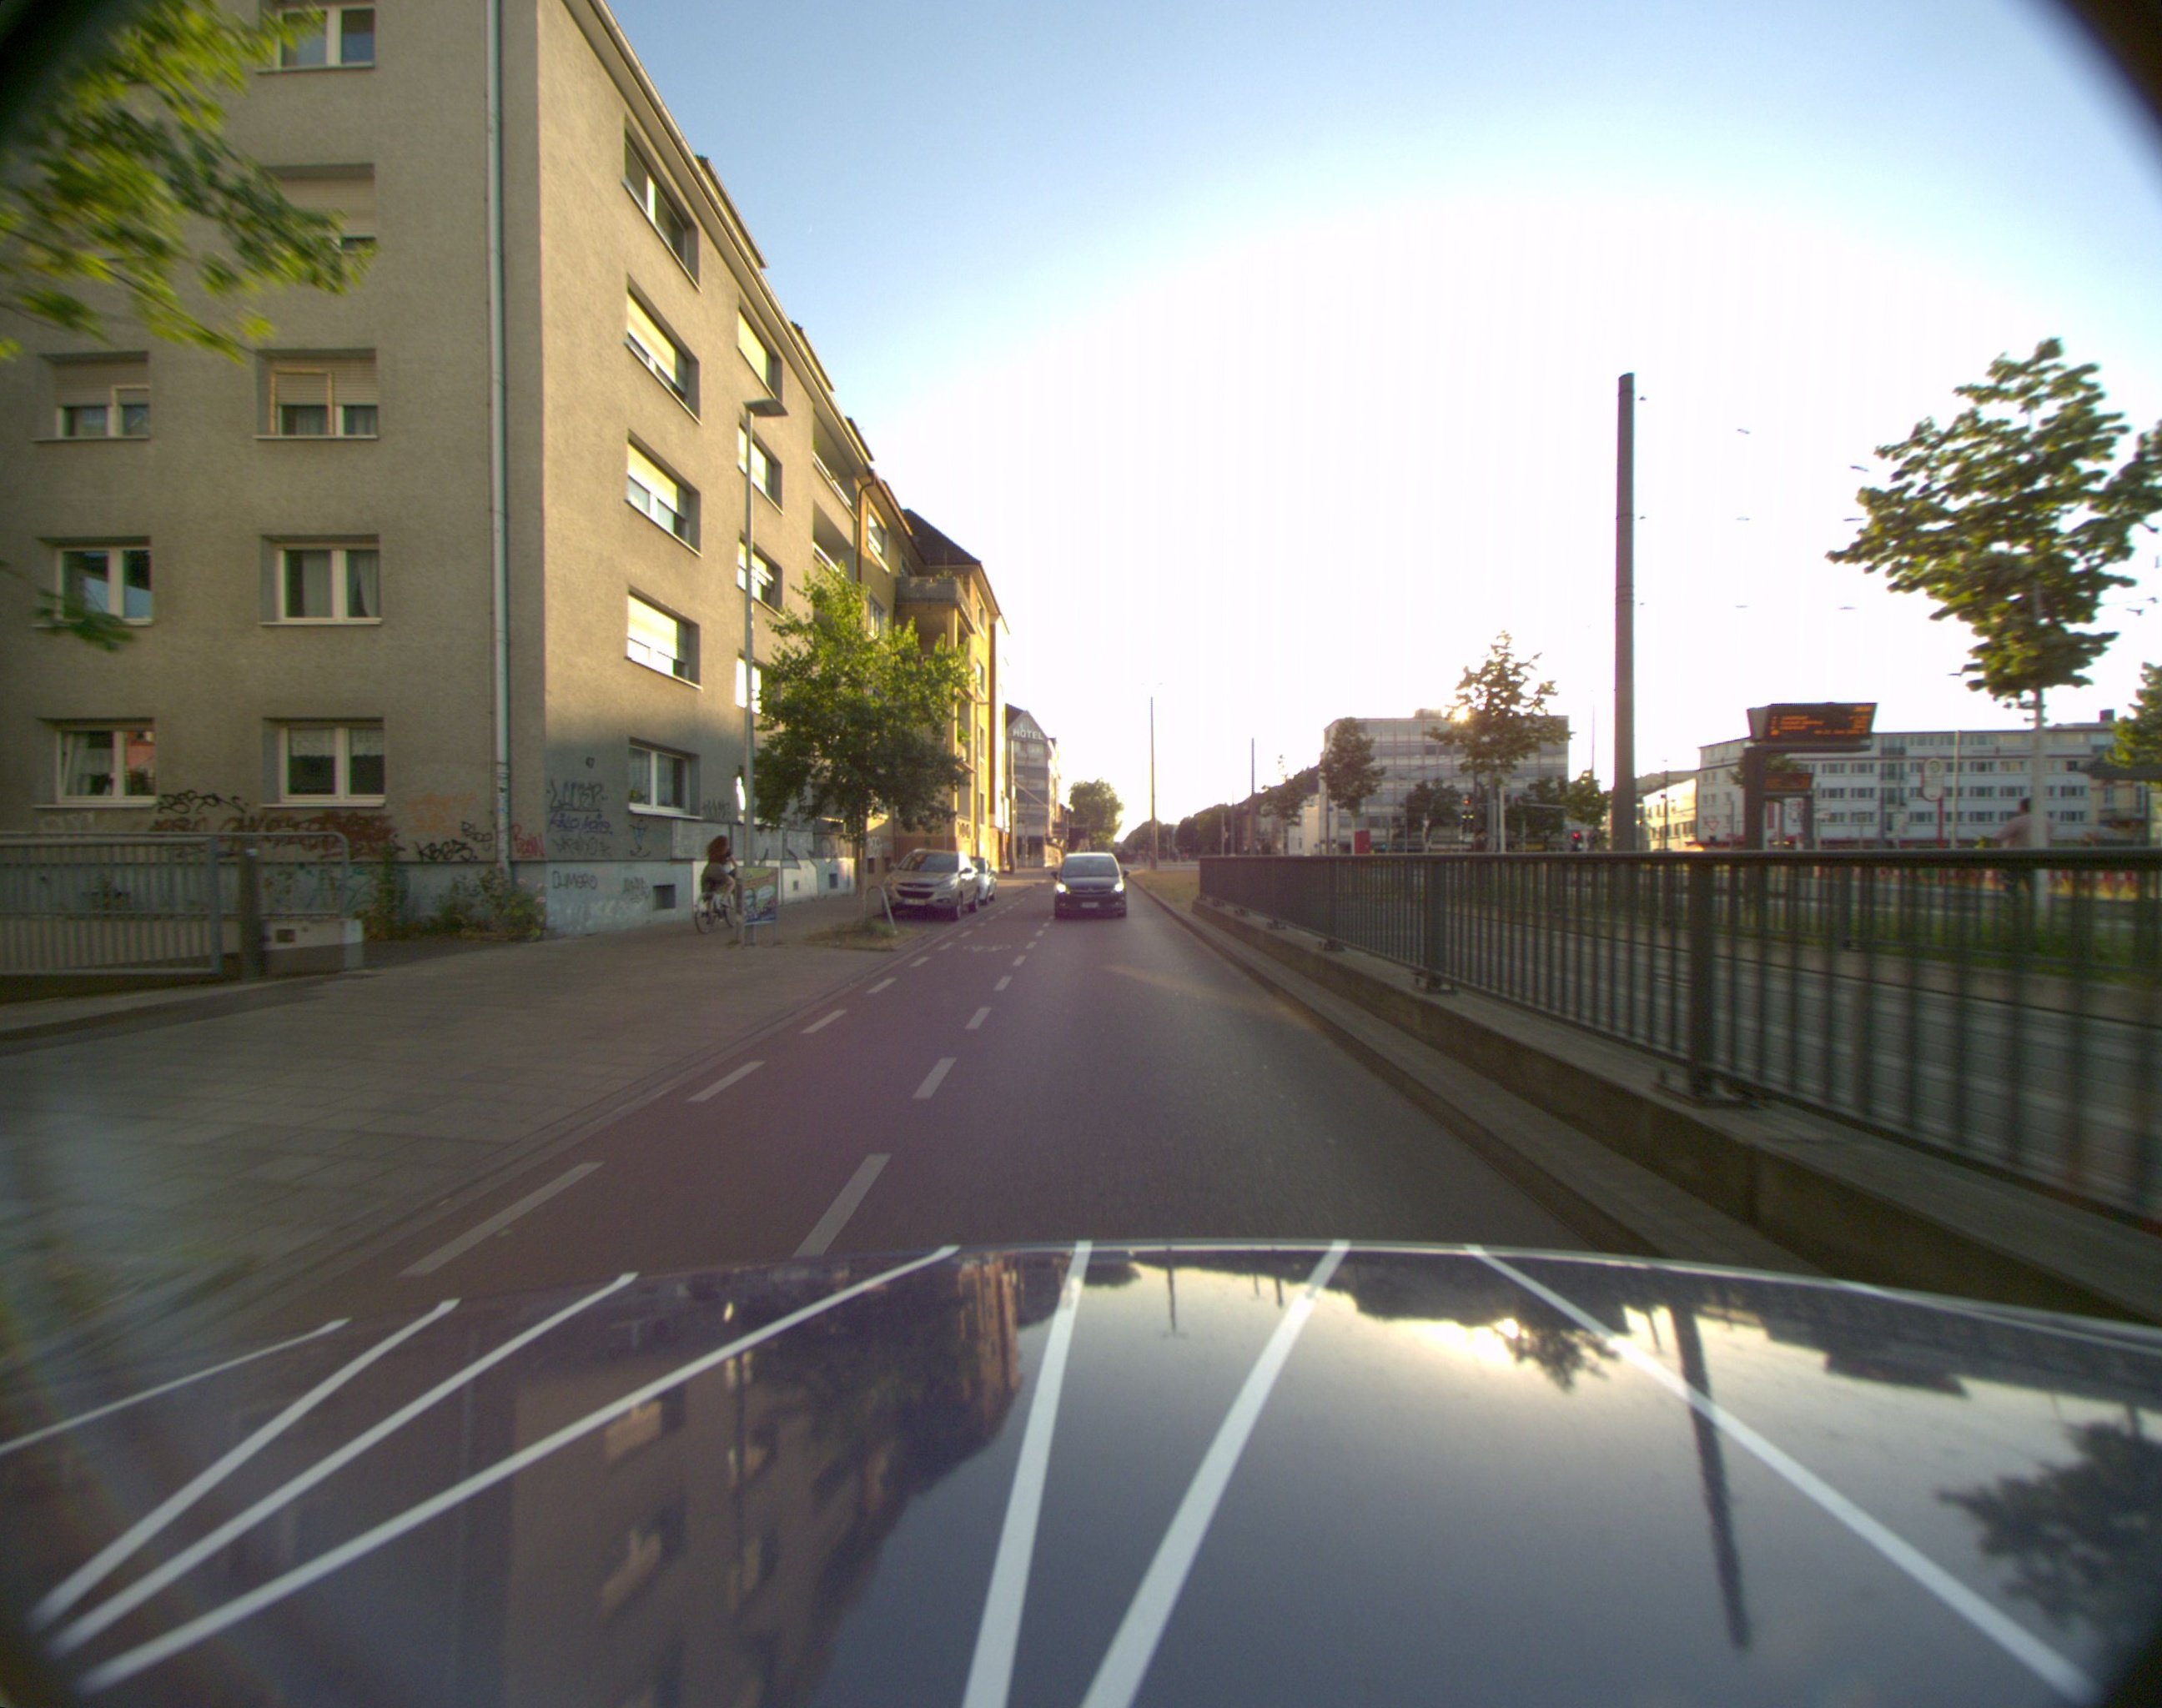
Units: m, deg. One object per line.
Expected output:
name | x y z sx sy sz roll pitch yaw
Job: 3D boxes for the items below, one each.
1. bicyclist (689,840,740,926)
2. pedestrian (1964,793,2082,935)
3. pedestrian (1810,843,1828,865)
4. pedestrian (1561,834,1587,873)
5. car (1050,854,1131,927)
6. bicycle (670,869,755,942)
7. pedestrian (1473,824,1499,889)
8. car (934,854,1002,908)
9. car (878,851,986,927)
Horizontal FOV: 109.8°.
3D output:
bicyclist | -6.487 0.506 13.468 0.559 1.467 0.622 3 1 -1
pedestrian | 11.954 0.120 9.659 0.727 1.734 0.636 -1 0 -7
pedestrian | 52.593 -0.005 54.165 0.654 1.501 0.590 1 1 5
pedestrian | 22.836 -0.031 35.210 0.696 1.788 0.817 -1 1 3
car | 0.267 0.821 19.255 1.800 1.609 4.387 -1 0 1
bicycle | -6.508 0.866 13.531 0.555 1.123 1.973 3 1 -1
pedestrian | 11.191 0.076 21.002 0.472 1.776 0.626 0 1 8
car | -3.604 0.811 24.818 1.673 1.509 3.601 3 0 -1
car | -3.678 0.793 19.575 1.761 1.644 4.528 2 0 1
